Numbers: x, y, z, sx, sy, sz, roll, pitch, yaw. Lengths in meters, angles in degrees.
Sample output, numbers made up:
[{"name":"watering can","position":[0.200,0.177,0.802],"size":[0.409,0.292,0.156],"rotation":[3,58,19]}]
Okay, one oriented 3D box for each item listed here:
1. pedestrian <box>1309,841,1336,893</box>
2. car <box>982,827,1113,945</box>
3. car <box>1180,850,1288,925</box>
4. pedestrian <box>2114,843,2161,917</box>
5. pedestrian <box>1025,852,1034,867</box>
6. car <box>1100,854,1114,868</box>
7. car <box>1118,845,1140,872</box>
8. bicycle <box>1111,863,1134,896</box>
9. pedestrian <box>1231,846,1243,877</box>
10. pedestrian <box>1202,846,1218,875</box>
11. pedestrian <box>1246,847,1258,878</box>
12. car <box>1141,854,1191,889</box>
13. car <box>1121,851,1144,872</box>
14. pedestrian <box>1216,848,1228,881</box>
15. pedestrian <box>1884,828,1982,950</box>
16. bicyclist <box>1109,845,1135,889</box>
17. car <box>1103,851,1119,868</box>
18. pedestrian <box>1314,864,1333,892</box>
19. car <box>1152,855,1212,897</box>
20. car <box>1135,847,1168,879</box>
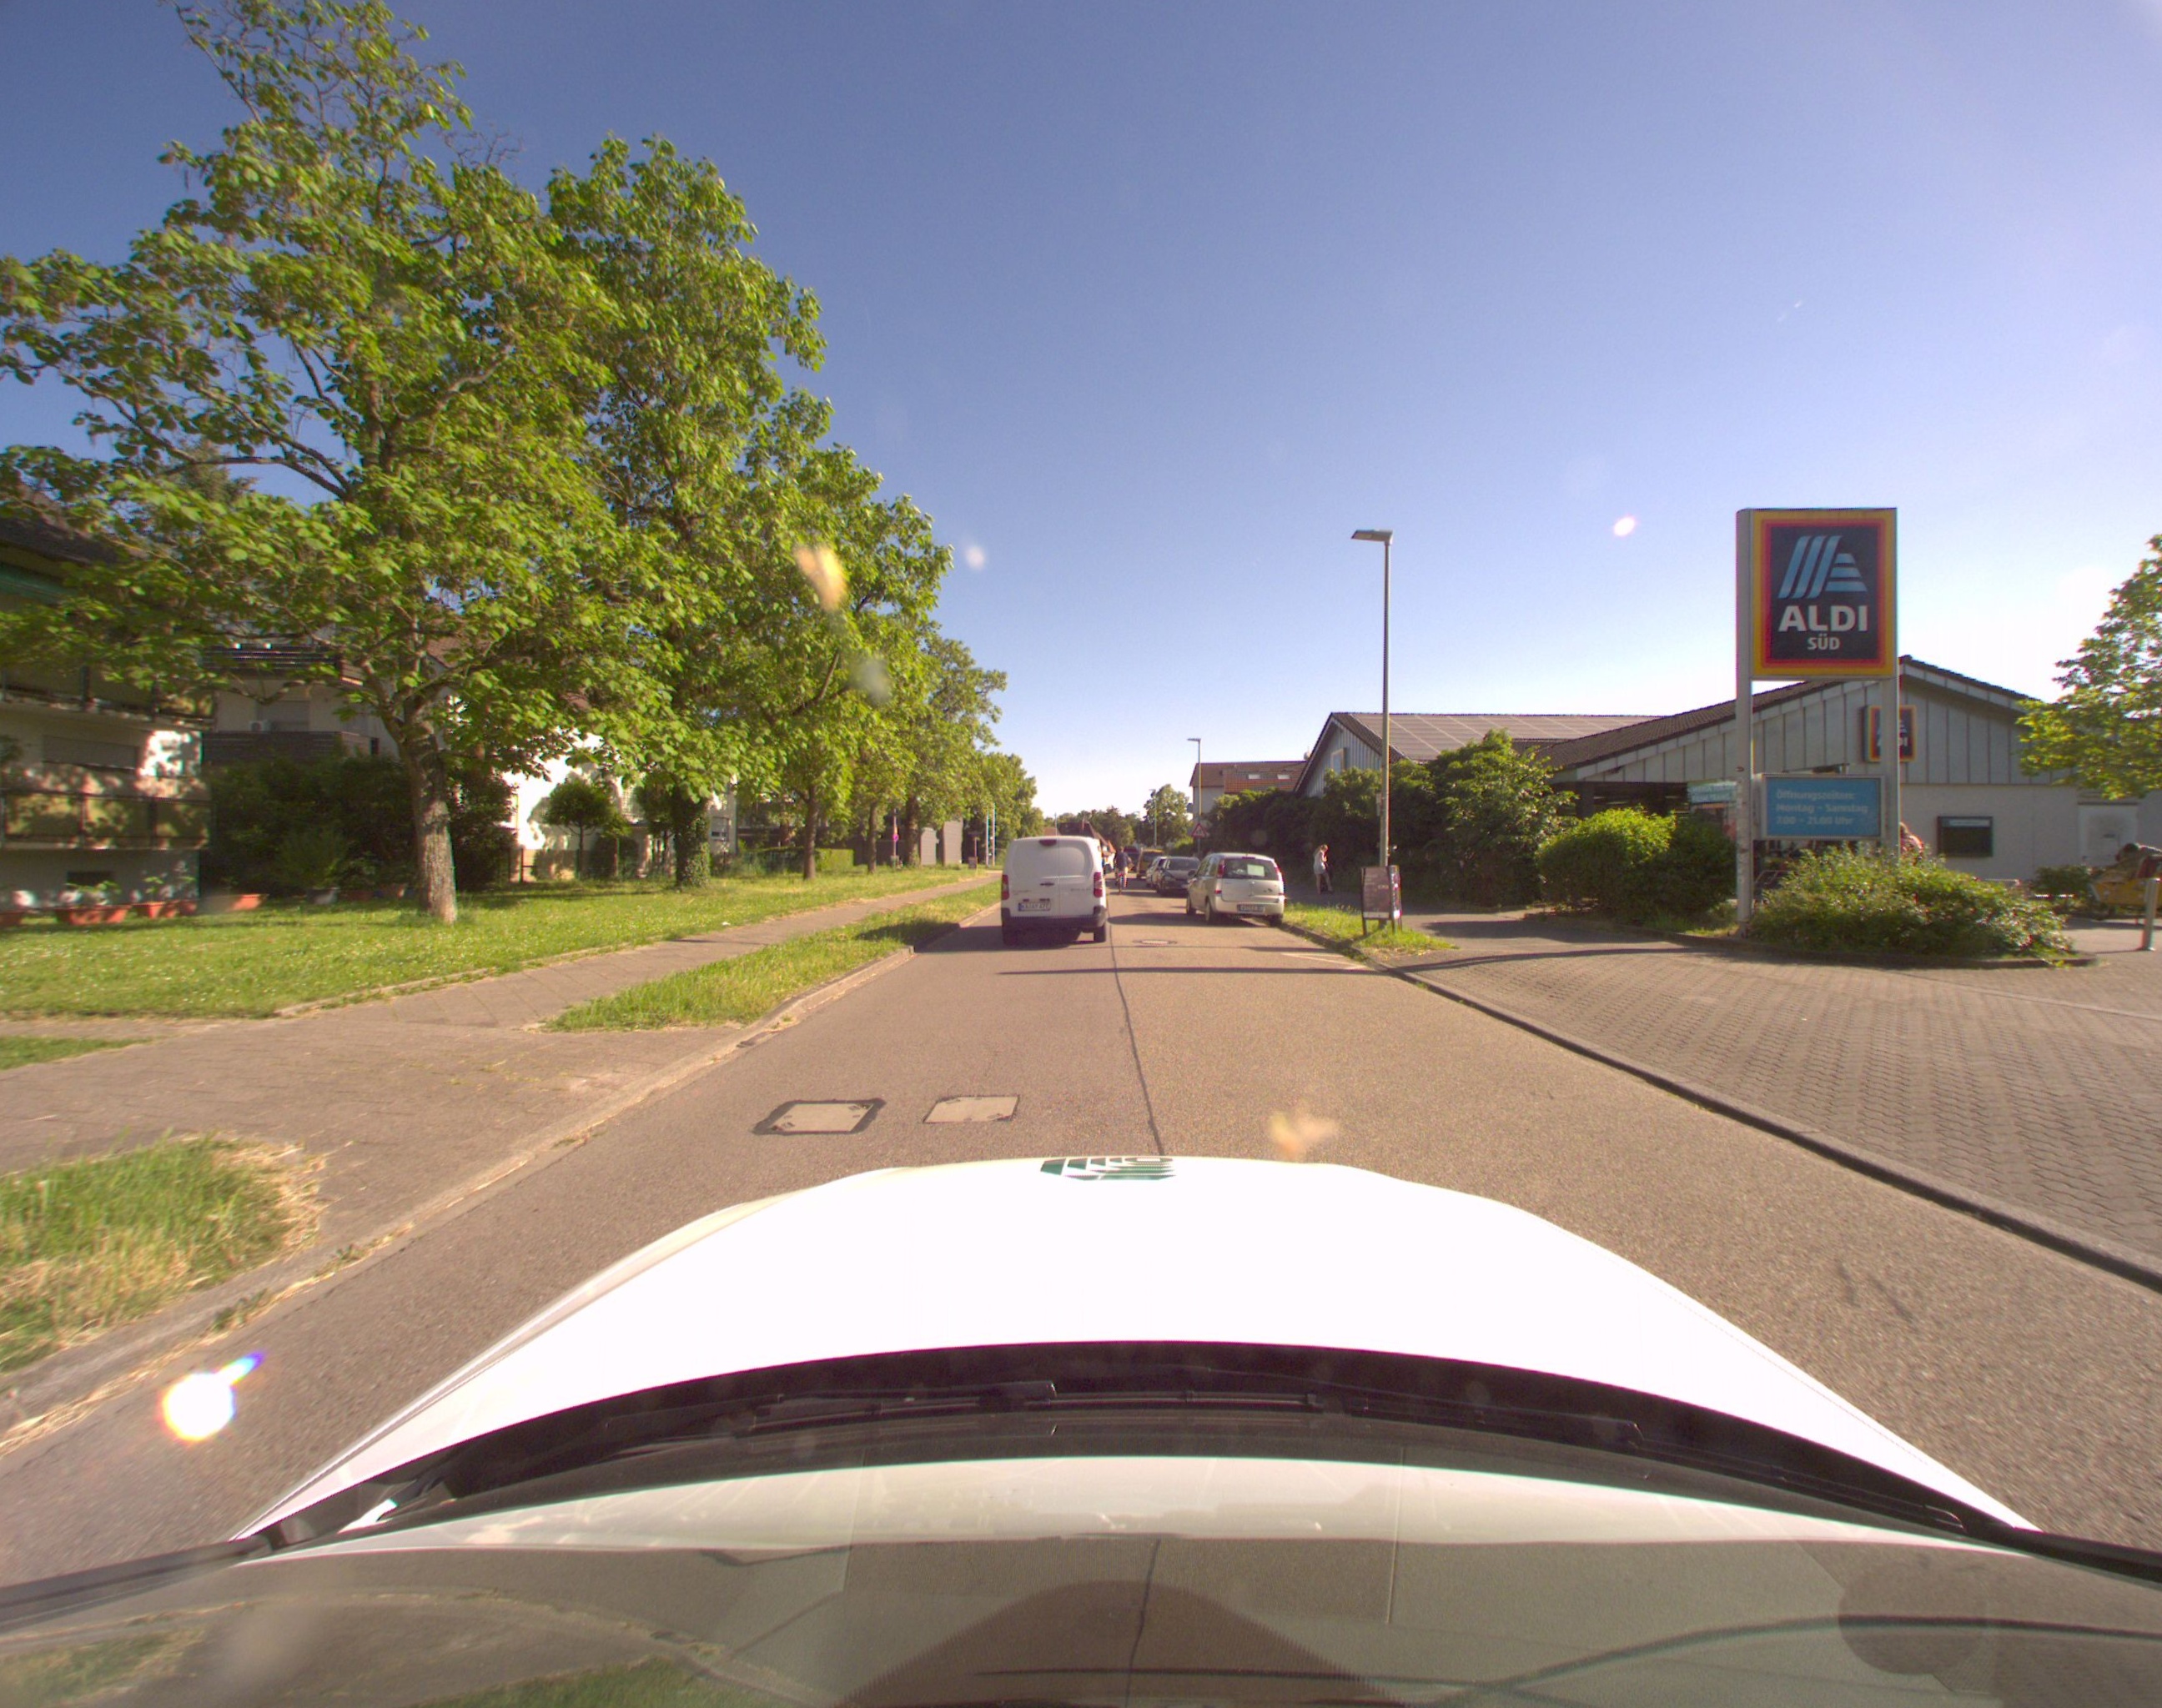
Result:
[{"name":"pedestrian","position":[8.381,0.444,28.252],"size":[0.794,1.782,0.811],"rotation":[0,0,9]},{"name":"car","position":[-0.460,0.503,15.192],"size":[1.985,1.882,4.293],"rotation":[0,0,4]},{"name":"car","position":[3.537,0.742,19.490],"size":[1.675,1.599,4.024],"rotation":[1,-1,-2]},{"name":"pedestrian","position":[23.636,0.561,18.157],"size":[0.781,1.618,0.685],"rotation":[0,0,-43]},{"name":"pedestrian","position":[-4.786,0.505,75.906],"size":[0.504,1.446,0.643],"rotation":[0,0,34]},{"name":"car","position":[3.646,1.062,114.595],"size":[1.797,1.842,4.001],"rotation":[2,-1,2]},{"name":"car","position":[4.844,0.500,82.197],"size":[1.860,2.562,4.766],"rotation":[2,-1,0]},{"name":"bicycle","position":[1.516,0.909,30.143],"size":[0.784,1.138,2.280],"rotation":[0,0,1]},{"name":"pedestrian","position":[8.329,0.415,43.410],"size":[0.564,1.637,0.547],"rotation":[0,0,6]},{"name":"pedestrian","position":[8.177,0.420,51.739],"size":[0.793,1.861,0.872],"rotation":[1,0,-6]},{"name":"pedestrian","position":[9.070,0.437,43.270],"size":[0.564,1.637,0.547],"rotation":[0,0,6]},{"name":"car","position":[3.796,0.751,36.757],"size":[1.820,1.452,3.999],"rotation":[1,0,0]},{"name":"car","position":[4.669,0.688,74.952],"size":[1.798,1.785,3.999],"rotation":[2,-1,0]},{"name":"pedestrian","position":[7.142,0.516,41.288],"size":[0.564,1.637,0.547],"rotation":[0,0,6]},{"name":"pedestrian","position":[11.893,0.465,11.398],"size":[0.685,1.631,0.781],"rotation":[0,0,22]},{"name":"bicyclist","position":[1.517,0.474,30.241],"size":[0.902,1.584,0.966],"rotation":[1,-1,0]},{"name":"car","position":[3.683,0.731,101.324],"size":[1.798,2.069,3.999],"rotation":[2,-1,0]},{"name":"pedestrian","position":[8.647,0.838,29.069],"size":[0.529,0.980,0.812],"rotation":[1,0,9]},{"name":"car","position":[3.703,0.765,30.547],"size":[1.801,1.443,4.365],"rotation":[1,0,1]},{"name":"car","position":[4.152,0.521,48.238],"size":[1.717,1.837,4.002],"rotation":[1,0,2]}]
